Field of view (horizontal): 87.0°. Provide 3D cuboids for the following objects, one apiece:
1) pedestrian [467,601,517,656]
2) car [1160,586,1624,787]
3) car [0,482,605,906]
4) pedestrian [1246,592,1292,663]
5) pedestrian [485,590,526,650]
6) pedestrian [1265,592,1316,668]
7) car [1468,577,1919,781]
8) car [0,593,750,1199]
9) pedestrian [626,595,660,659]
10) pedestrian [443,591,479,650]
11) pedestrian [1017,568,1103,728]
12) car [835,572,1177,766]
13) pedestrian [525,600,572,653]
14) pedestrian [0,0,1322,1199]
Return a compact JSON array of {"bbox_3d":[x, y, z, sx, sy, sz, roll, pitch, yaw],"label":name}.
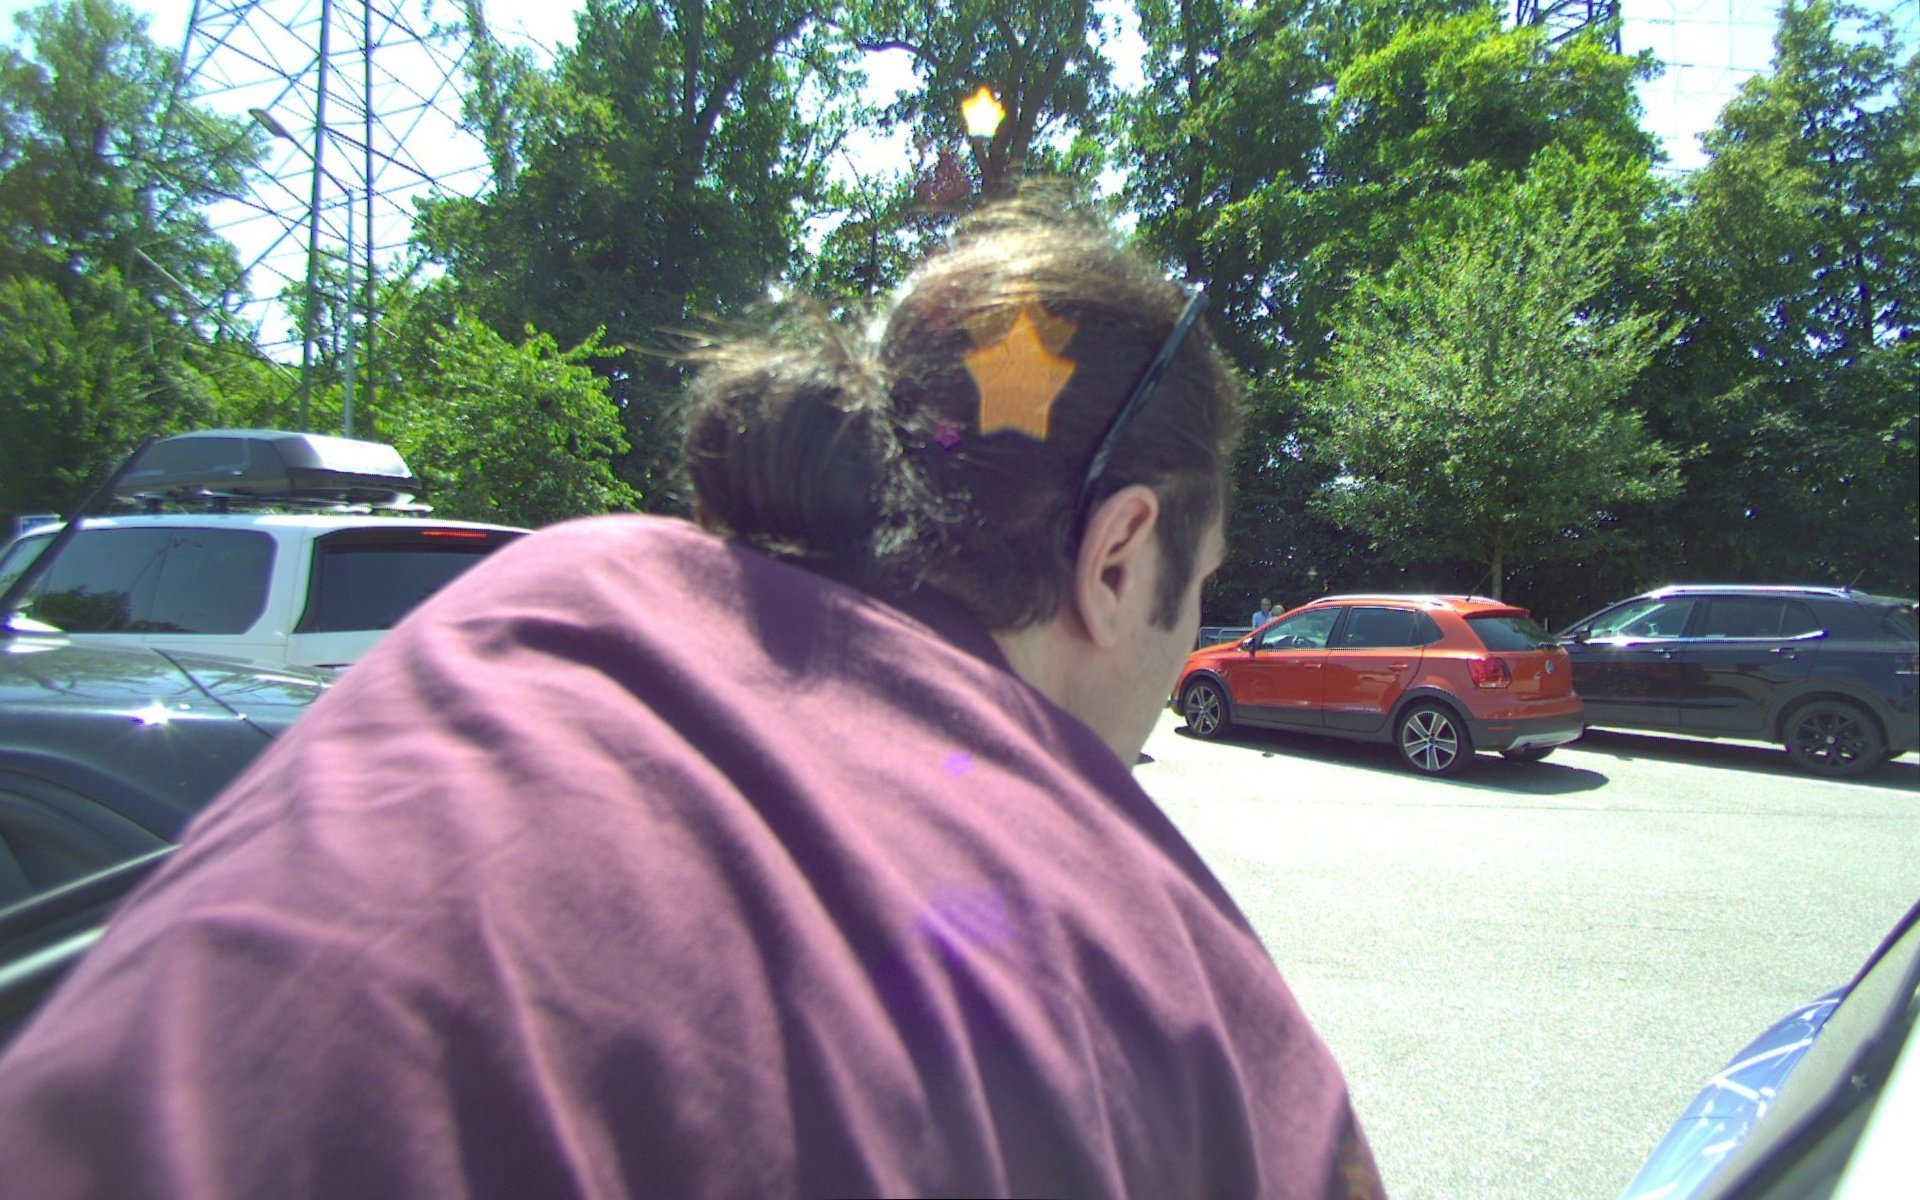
[{"bbox_3d":[-10.520,0.624,22.764,0.873,1.192,0.668,0,0,-41],"label":"pedestrian"},{"bbox_3d":[3.852,0.626,9.642,1.687,1.484,3.793,0,1,-32],"label":"car"},{"bbox_3d":[-4.650,0.391,6.493,4.519,1.936,1.895,1,1,27],"label":"car"},{"bbox_3d":[5.784,0.503,18.973,0.657,1.311,0.783,0,0,3],"label":"pedestrian"},{"bbox_3d":[-11.022,0.479,24.530,0.664,1.422,0.643,0,0,32],"label":"pedestrian"},{"bbox_3d":[5.777,0.513,17.745,0.657,1.311,0.783,0,0,3],"label":"pedestrian"},{"bbox_3d":[7.178,0.591,9.702,1.690,1.593,3.787,0,1,-39],"label":"car"},{"bbox_3d":[-2.204,0.727,0.593,1.737,1.501,3.757,0,-1,44],"label":"car"},{"bbox_3d":[-6.647,0.554,21.262,0.655,1.311,0.786,0,0,-16],"label":"pedestrian"},{"bbox_3d":[-12.350,0.500,25.046,0.657,1.422,0.649,0,0,-39],"label":"pedestrian"},{"bbox_3d":[1.094,0.508,11.270,0.719,1.703,0.921,0,0,-10],"label":"pedestrian"},{"bbox_3d":[0.251,0.535,10.512,1.713,1.601,3.996,0,1,-29],"label":"car"},{"bbox_3d":[-9.604,0.612,23.618,0.873,1.192,0.668,0,0,-41],"label":"pedestrian"},{"bbox_3d":[-0.261,0.545,0.732,0.874,1.865,0.621,0,0,-38],"label":"pedestrian"}]
